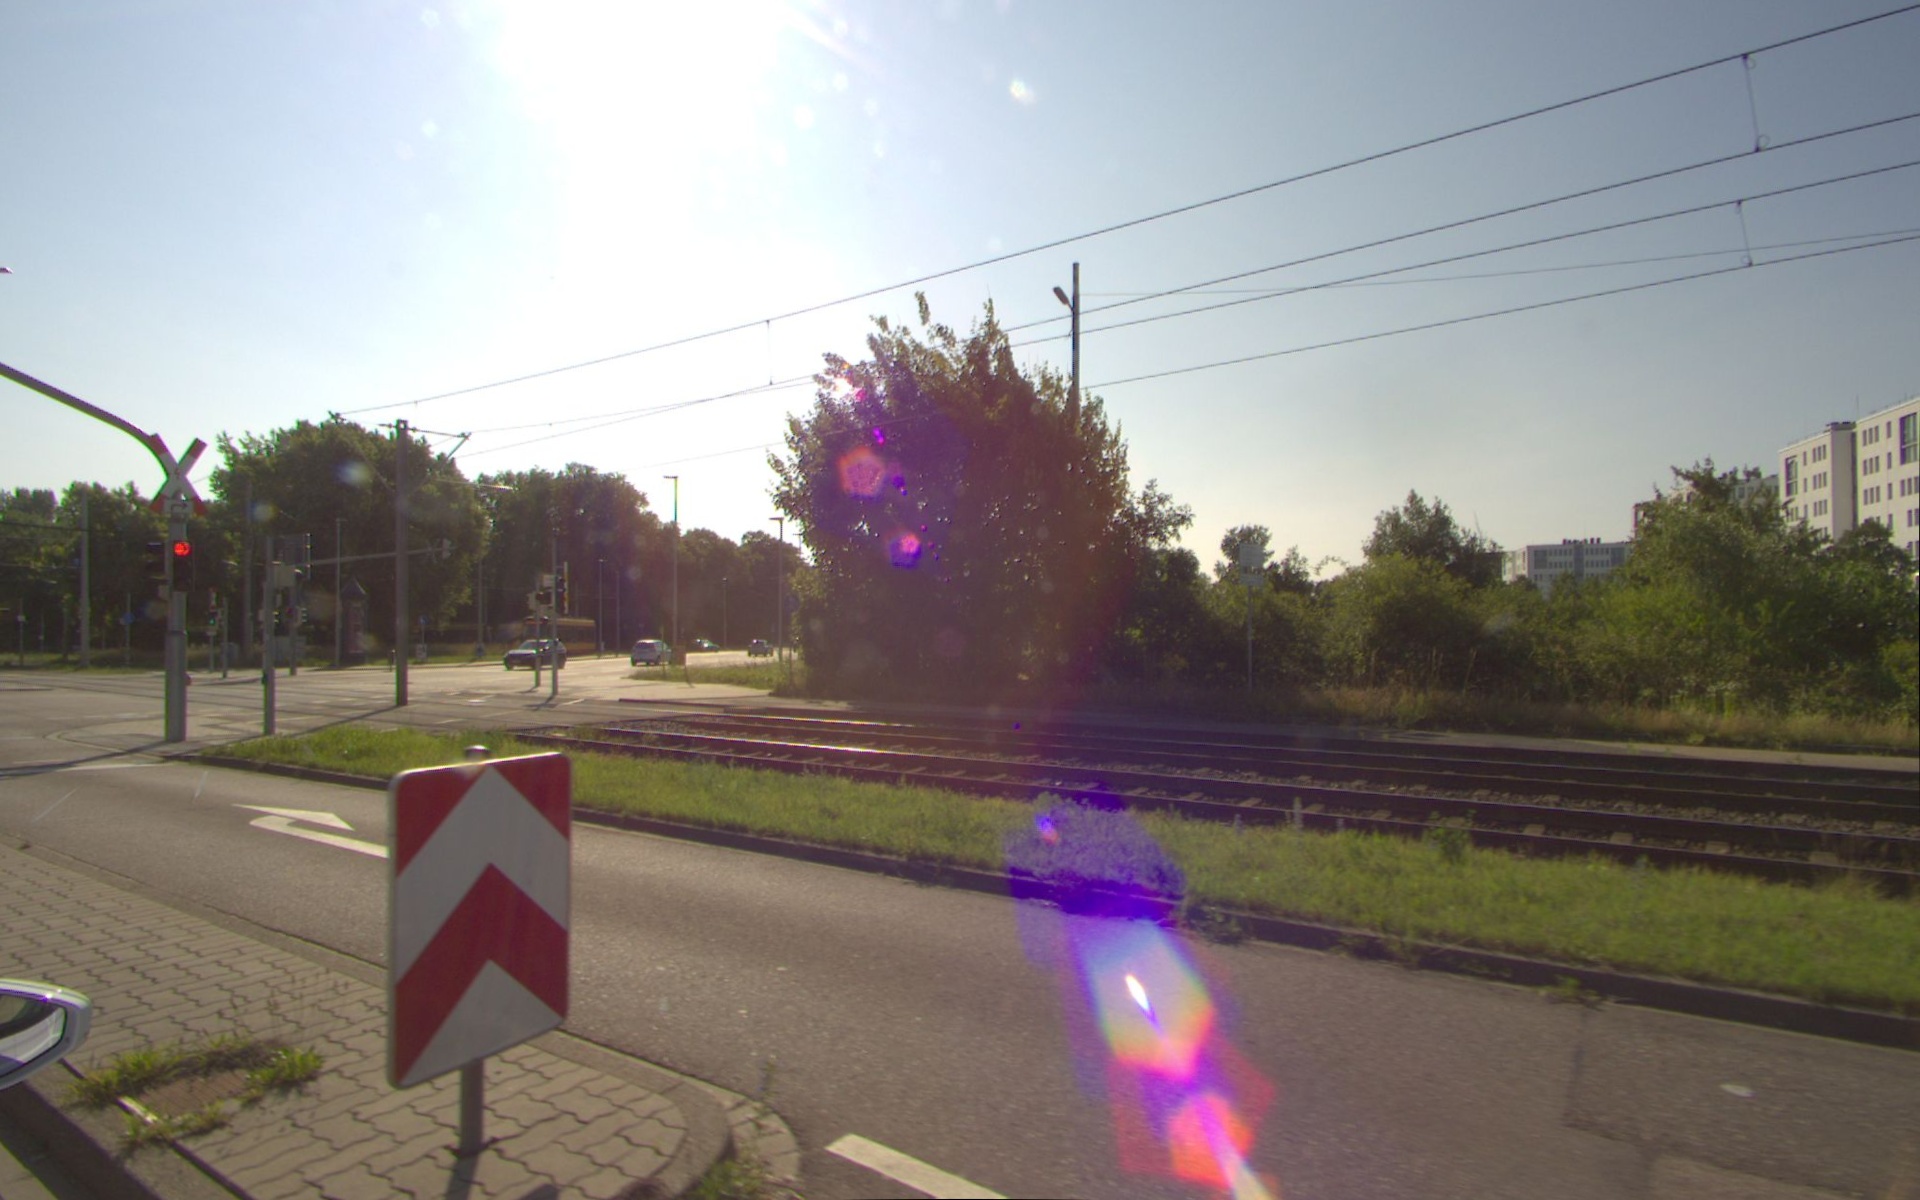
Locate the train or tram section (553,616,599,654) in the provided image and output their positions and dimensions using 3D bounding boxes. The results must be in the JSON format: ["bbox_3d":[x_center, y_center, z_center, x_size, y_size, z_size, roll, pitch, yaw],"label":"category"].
[{"bbox_3d":[-38.767,3.513,100.689,3.008,3.625,12.181,1,-2,-27],"label":"train or tram section"}]

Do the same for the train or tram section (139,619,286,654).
[{"bbox_3d":[-79.996,3.890,107.534,12.247,3.625,3.043,1,-2,-26],"label":"train or tram section"}]

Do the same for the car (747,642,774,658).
[{"bbox_3d":[-18.370,4.585,92.365,1.575,1.401,3.531,0,-2,4],"label":"car"}]

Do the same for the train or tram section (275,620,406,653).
[{"bbox_3d":[-69.160,4.046,112.176,12.025,3.625,3.047,1,-2,-21],"label":"train or tram section"}]

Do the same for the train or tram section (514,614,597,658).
[{"bbox_3d":[-35.730,3.183,89.061,2.994,3.625,11.857,0,-2,-2],"label":"train or tram section"}]

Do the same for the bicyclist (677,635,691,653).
[{"bbox_3d":[-30.405,4.848,110.220,1.078,2.039,1.140,-1,-2,11],"label":"bicyclist"}]

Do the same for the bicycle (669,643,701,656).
[{"bbox_3d":[-30.241,5.437,110.160,3.168,1.472,1.131,-1,-3,11],"label":"bicycle"}]

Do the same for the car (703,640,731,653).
[{"bbox_3d":[-27.220,5.178,112.111,1.716,1.352,4.309,0,-2,6],"label":"car"}]

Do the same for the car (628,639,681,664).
[{"bbox_3d":[-19.866,3.316,65.217,1.820,1.582,4.206,0,-2,6],"label":"car"}]

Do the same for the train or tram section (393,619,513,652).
[{"bbox_3d":[-57.424,4.061,113.593,11.992,3.625,3.055,0,-2,0],"label":"train or tram section"}]

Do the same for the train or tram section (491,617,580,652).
[{"bbox_3d":[-46.540,3.818,109.644,12.066,3.625,3.037,-2,-2,35],"label":"train or tram section"}]

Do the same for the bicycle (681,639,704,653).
[{"bbox_3d":[-31.277,5.380,117.099,2.562,1.734,0.795,0,-1,-2],"label":"bicycle"}]

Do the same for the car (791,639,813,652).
[{"bbox_3d":[-17.507,5.064,111.040,1.575,1.401,3.531,0,-1,4],"label":"car"}]

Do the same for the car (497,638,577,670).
[{"bbox_3d":[-23.358,2.960,55.511,2.005,1.583,4.863,0,-1,6],"label":"car"}]
